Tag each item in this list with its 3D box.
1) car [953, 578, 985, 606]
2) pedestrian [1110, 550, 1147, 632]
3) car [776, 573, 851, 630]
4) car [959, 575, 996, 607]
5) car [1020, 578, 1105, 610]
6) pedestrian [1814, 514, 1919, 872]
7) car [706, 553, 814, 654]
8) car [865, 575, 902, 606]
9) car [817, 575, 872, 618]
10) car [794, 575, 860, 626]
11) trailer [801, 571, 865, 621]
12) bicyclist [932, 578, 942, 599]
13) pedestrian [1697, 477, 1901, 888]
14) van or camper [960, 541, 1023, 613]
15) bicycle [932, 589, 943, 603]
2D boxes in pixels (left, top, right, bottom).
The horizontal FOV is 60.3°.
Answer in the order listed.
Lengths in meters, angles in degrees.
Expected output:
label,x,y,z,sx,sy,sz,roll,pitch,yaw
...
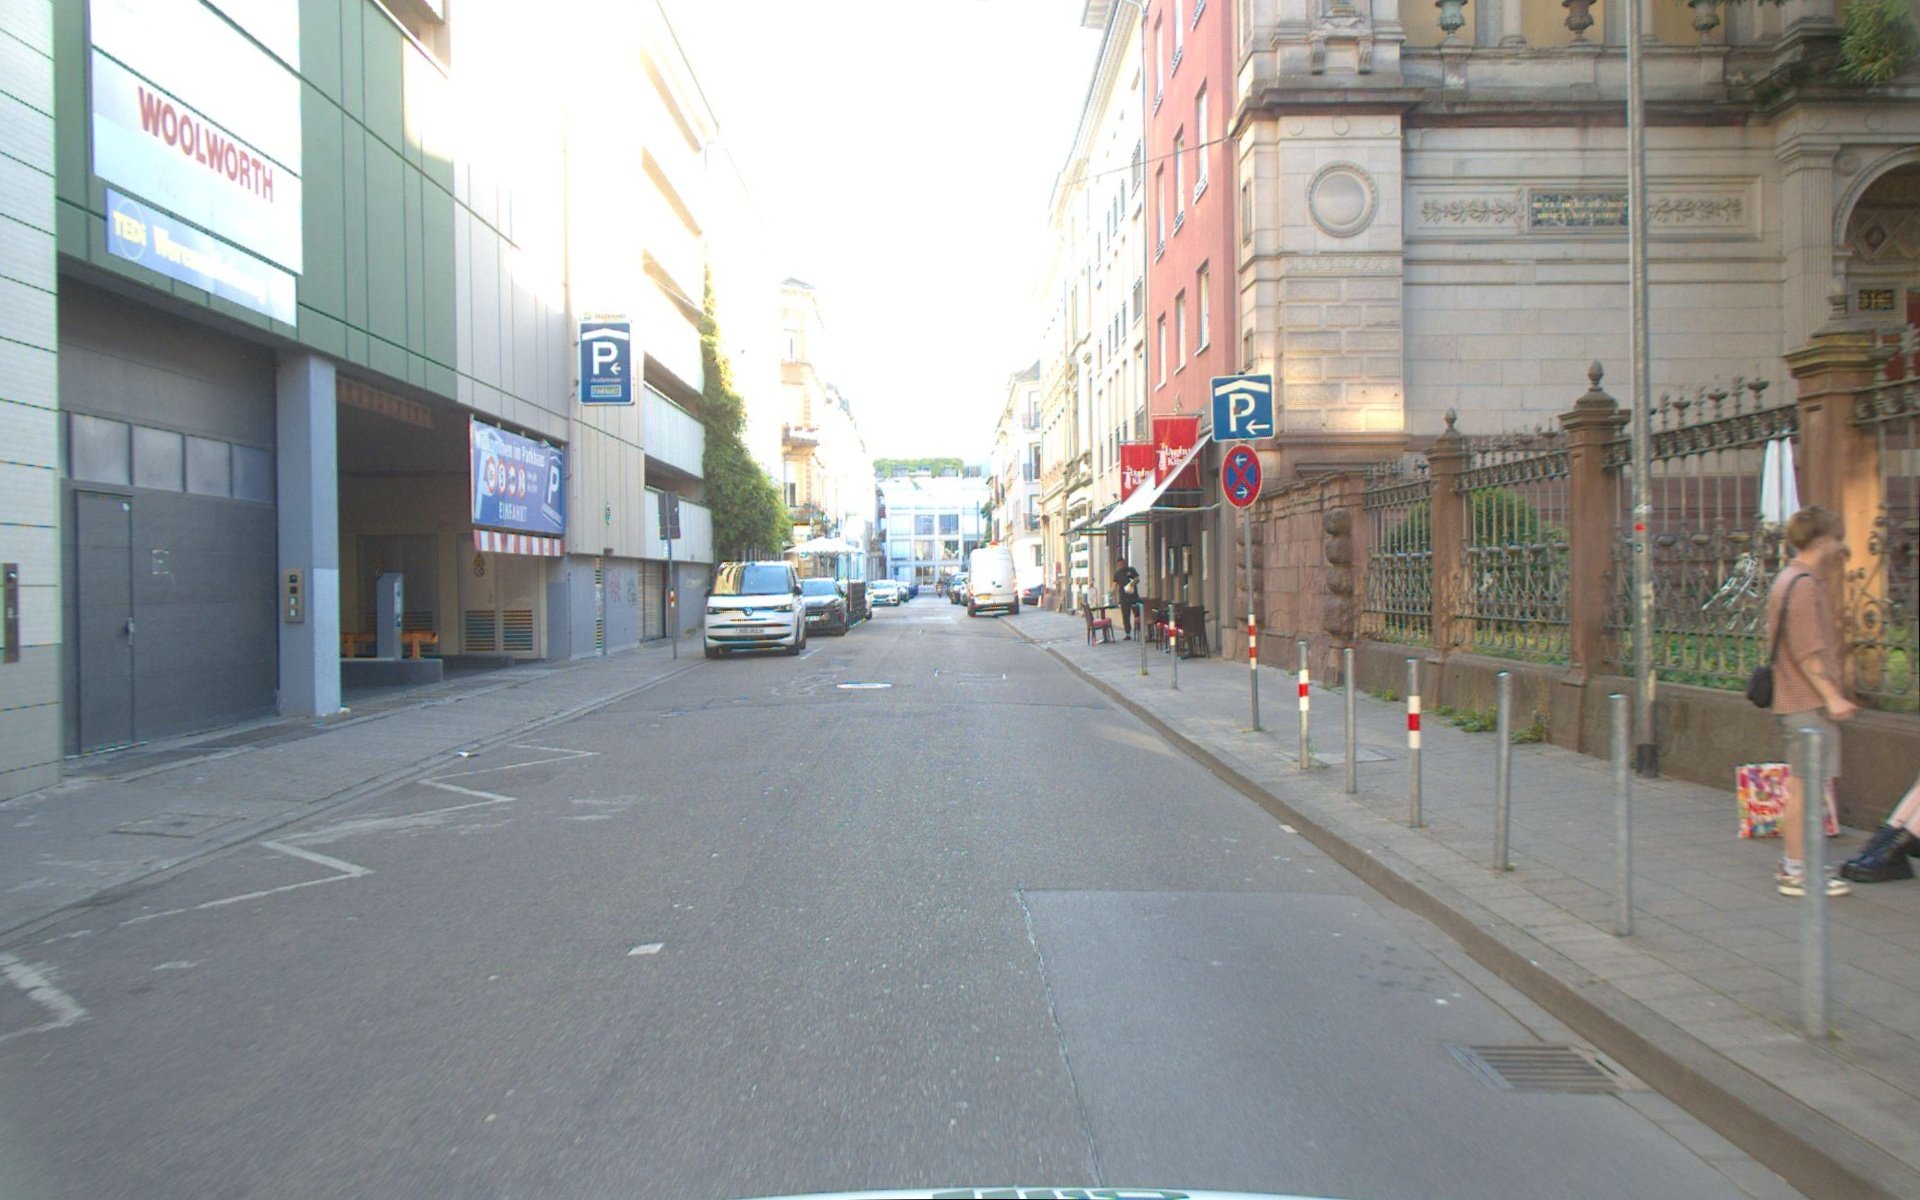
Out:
label,x,y,z,sx,sy,sz,roll,pitch,yaw
car,0.576,-0.484,104.473,1.953,1.713,3.999,-1,0,-1
pedestrian,3.557,-0.195,34.922,0.648,1.695,0.624,-3,1,-1
car,-4.012,0.022,45.871,1.845,1.478,3.998,-1,1,-2
car,0.945,-0.486,92.635,1.953,1.713,3.999,-1,0,-1
car,4.857,-0.291,78.598,3.906,1.445,1.656,-1,0,-1
pedestrian,4.388,0.378,7.412,0.735,1.526,0.618,-2,1,-6
car,-4.109,0.036,34.633,1.846,1.945,4.746,-1,1,-3
car,-4.311,-0.524,93.942,1.953,1.713,3.999,-1,0,-1
car,-4.120,-0.141,59.418,1.845,1.478,3.998,-1,1,-2
car,-4.050,-0.010,50.769,1.845,1.478,3.998,-1,1,-2
trailer,-4.175,-0.116,55.030,1.953,1.584,3.998,-1,0,-2
bicyclist,-2.118,-1.034,153.261,0.970,1.901,0.708,-1,0,-1
pedestrian,3.630,0.337,7.189,0.475,1.687,0.618,-2,1,-8
van or camper,1.254,-0.905,68.068,2.213,2.652,5.111,-5,0,-1
bicycle,-2.083,-0.350,153.445,0.955,1.302,2.754,-1,0,-1
